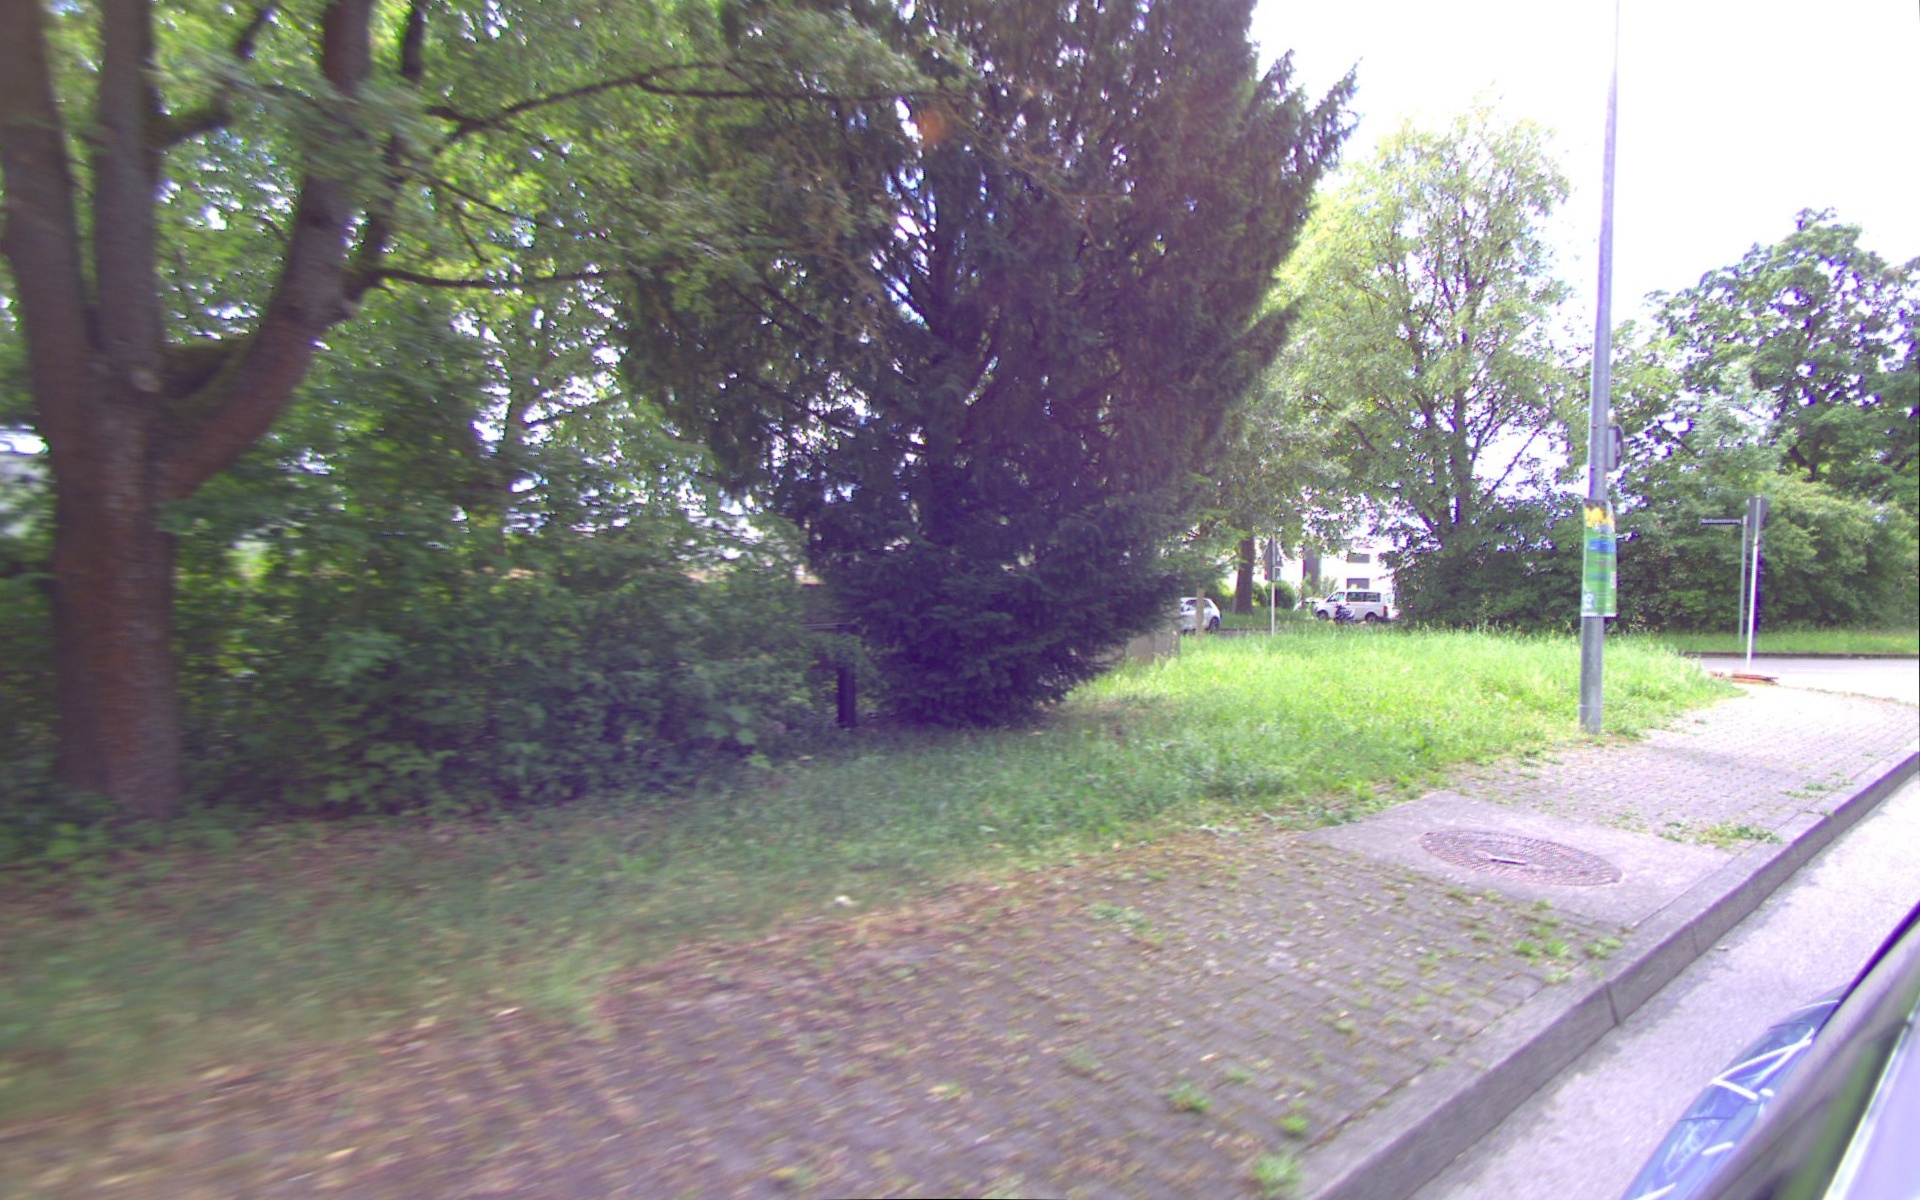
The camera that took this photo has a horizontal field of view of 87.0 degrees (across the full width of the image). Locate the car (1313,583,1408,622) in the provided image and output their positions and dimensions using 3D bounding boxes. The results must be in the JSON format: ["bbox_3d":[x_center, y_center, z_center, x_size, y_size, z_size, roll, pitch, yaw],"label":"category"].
[{"bbox_3d":[22.611,0.104,57.319,1.963,2.038,4.660,0,2,-36],"label":"car"}]

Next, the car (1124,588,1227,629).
[{"bbox_3d":[8.632,0.301,40.365,4.169,1.504,1.826,0,2,-40],"label":"car"}]
